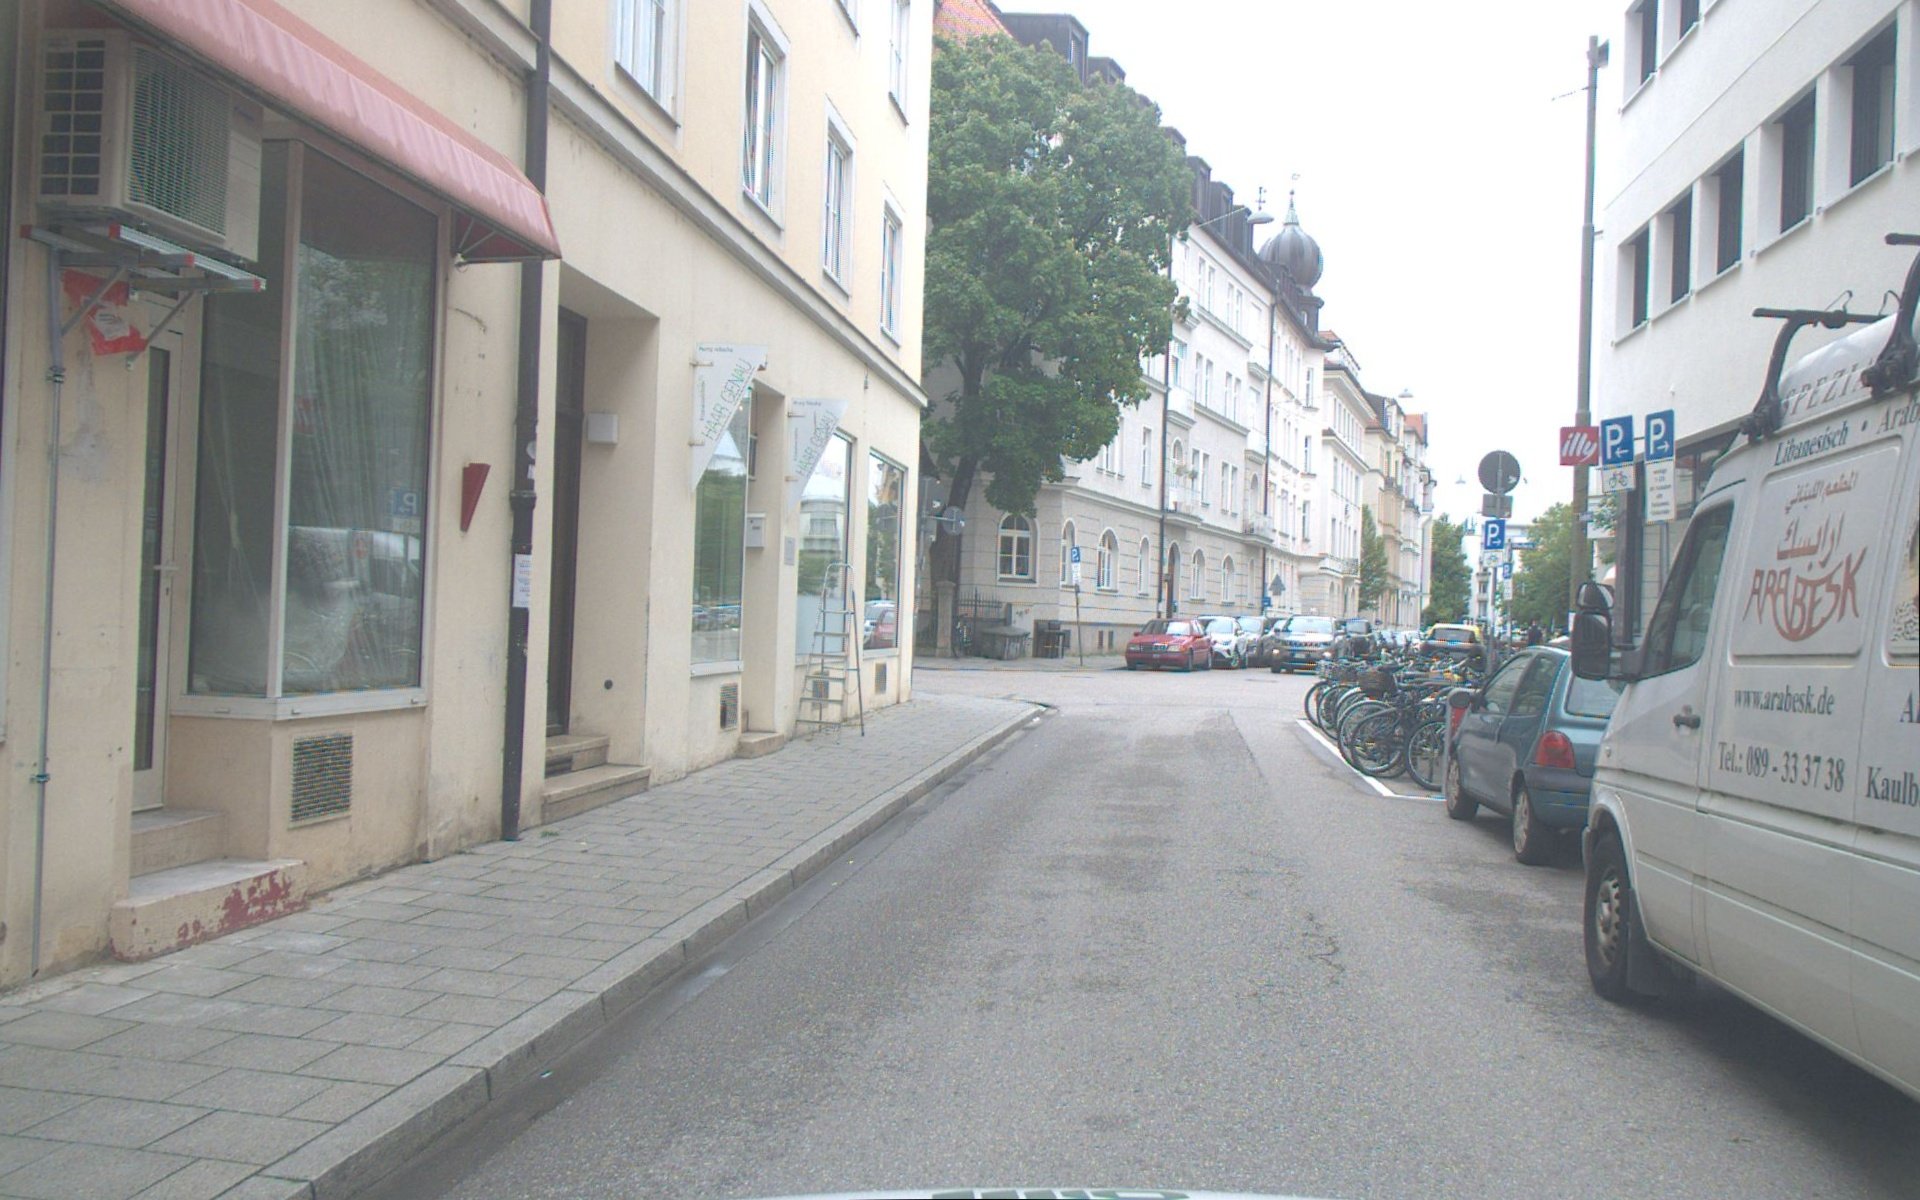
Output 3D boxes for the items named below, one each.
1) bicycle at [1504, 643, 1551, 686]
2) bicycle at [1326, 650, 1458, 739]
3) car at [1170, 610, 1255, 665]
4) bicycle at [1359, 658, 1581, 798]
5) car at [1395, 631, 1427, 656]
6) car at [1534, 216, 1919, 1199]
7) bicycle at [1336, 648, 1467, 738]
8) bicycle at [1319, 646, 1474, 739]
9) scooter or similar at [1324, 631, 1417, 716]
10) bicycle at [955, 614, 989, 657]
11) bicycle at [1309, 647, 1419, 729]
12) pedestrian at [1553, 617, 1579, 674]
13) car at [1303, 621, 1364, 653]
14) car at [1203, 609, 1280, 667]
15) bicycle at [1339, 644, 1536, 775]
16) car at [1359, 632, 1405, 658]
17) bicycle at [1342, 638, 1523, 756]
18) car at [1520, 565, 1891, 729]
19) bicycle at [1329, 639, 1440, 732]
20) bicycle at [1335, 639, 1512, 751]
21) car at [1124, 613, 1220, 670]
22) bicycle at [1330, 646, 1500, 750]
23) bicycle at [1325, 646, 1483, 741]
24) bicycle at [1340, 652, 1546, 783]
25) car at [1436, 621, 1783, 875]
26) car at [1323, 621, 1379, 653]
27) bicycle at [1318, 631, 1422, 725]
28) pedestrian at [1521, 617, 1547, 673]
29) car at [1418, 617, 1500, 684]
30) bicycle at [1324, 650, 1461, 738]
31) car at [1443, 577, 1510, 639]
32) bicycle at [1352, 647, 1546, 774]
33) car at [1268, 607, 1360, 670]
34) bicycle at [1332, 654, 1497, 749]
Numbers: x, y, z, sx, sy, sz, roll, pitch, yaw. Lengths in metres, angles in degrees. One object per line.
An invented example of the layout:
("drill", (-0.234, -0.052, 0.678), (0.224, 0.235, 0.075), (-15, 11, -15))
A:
("bicycle", (14.596, 1.647, 42.579), (0.528, 1.016, 1.755), (-1, 0, -2))
("bicycle", (5.735, 1.254, 21.991), (1.639, 1.098, 0.336), (2, 1, 5))
("car", (7.558, 1.111, 49.217), (1.951, 1.499, 4.221), (2, -1, 16))
("bicycle", (4.677, 1.168, 15.244), (1.834, 1.098, 0.489), (4, 1, 6))
("car", (27.792, 2.659, 101.829), (1.697, 1.444, 4.001), (2, 0, 18))
("car", (3.464, 0.337, 5.088), (1.880, 2.549, 6.001), (3, 0, 7))
("bicycle", (5.751, 1.210, 21.601), (1.579, 1.098, 0.378), (2, 1, 5))
("bicycle", (5.578, 1.181, 21.181), (1.834, 1.098, 0.408), (2, 1, 5))
("scooter or similar", (6.299, 1.120, 25.406), (1.324, 1.231, 0.418), (2, -1, 10))
("bicycle", (0.334, 0.935, 44.379), (0.483, 1.071, 1.828), (2, 2, 13))
("bicycle", (5.770, 1.254, 23.653), (1.421, 1.088, 0.463), (2, 0, 0))
("pedestrian", (20.682, 1.540, 56.411), (0.762, 1.883, 1.022), (2, -1, 22))
("car", (15.851, 1.542, 70.003), (1.868, 1.243, 3.999), (2, 0, 22))
("car", (9.241, 1.226, 54.079), (1.902, 1.732, 4.002), (2, 0, 18))
("bicycle", (4.834, 1.098, 16.814), (1.834, 1.225, 0.489), (2, 1, 6))
("car", (21.812, 2.292, 85.342), (1.867, 1.243, 4.000), (2, 0, 20))
("bicycle", (5.178, 1.056, 18.196), (1.834, 1.225, 0.580), (1, -1, 6))
("car", (13.333, 0.778, 30.003), (5.768, 2.636, 2.061), (2, 1, 13))
("bicycle", (5.942, 1.190, 23.174), (1.421, 1.229, 0.395), (2, -1, 0))
("bicycle", (5.255, 1.067, 18.819), (1.853, 1.190, 0.566), (1, 0, 5))
("car", (5.774, 1.098, 44.705), (1.695, 1.402, 4.227), (2, -1, 20))
("bicycle", (5.308, 1.134, 19.360), (1.834, 1.114, 0.440), (2, 1, 5))
("bicycle", (5.554, 1.166, 20.741), (1.834, 1.098, 0.402), (2, 1, 5))
("bicycle", (4.735, 1.146, 16.302), (1.834, 1.127, 0.489), (3, 1, 6))
("car", (4.511, 0.926, 11.991), (1.546, 1.489, 3.554), (2, 0, 8))
("car", (17.609, 1.649, 74.406), (1.868, 1.352, 3.999), (2, 0, 22))
("bicycle", (6.091, 1.155, 24.629), (1.426, 1.308, 0.445), (2, 0, 9))
("pedestrian", (19.845, 1.541, 57.176), (0.762, 1.883, 1.022), (2, -1, 22))
("car", (14.143, 1.413, 46.750), (1.783, 1.664, 4.288), (4, 0, 21))
("bicycle", (5.846, 1.262, 22.394), (1.703, 1.098, 0.452), (2, 1, 5))
("car", (17.708, 0.304, 56.629), (1.783, 1.903, 4.288), (4, 0, 21))
("bicycle", (5.142, 1.152, 17.460), (1.834, 1.177, 0.565), (3, 1, 6))
("car", (10.075, 1.063, 46.843), (1.917, 1.636, 4.309), (1, 0, 20))
("bicycle", (5.496, 1.216, 20.043), (1.834, 1.070, 0.564), (2, -2, 5))
